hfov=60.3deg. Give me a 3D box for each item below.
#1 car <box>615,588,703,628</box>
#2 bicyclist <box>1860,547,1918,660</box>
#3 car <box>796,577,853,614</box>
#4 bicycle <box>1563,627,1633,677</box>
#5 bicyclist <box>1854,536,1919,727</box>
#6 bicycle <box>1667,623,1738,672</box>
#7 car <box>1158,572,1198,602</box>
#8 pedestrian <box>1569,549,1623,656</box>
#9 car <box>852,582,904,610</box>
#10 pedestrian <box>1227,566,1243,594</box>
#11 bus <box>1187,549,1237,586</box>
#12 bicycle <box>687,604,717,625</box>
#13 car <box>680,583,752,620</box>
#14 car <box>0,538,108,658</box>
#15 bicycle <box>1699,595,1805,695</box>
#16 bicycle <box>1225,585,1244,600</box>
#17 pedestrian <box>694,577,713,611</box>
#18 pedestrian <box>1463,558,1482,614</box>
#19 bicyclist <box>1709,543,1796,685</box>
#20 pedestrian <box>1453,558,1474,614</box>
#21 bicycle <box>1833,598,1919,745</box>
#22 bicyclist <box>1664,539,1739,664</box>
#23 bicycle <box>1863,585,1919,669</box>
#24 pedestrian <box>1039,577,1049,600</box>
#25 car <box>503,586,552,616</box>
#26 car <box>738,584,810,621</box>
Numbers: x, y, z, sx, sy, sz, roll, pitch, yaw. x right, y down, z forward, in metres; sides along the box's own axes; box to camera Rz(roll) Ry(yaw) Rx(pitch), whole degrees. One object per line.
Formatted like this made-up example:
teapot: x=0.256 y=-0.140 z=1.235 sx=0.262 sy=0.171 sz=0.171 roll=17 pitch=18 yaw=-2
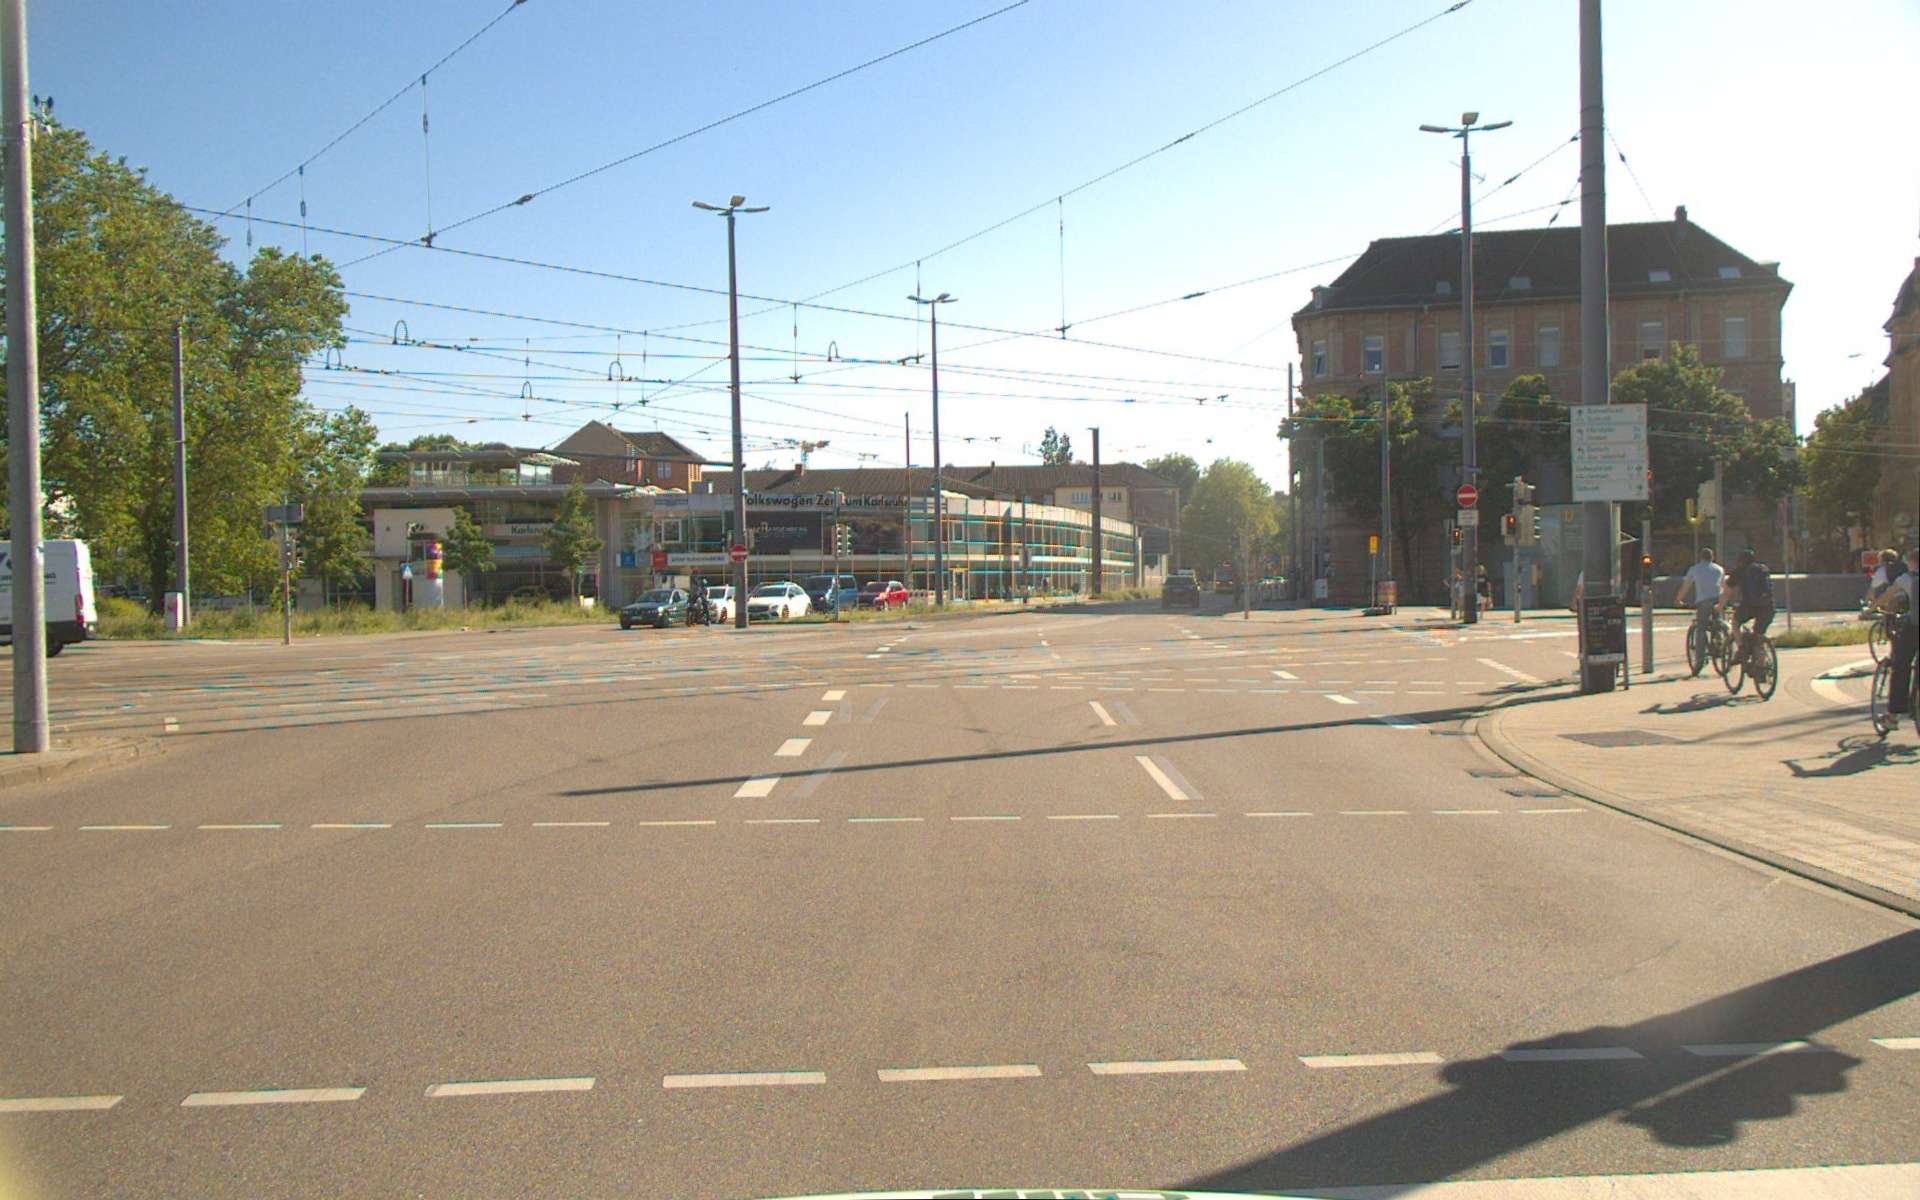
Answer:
car: x=-11.013 y=0.279 z=60.701 sx=1.667 sy=1.378 sz=3.703 roll=-1 pitch=1 yaw=16
bicyclist: x=13.432 y=0.039 z=23.918 sx=0.560 sy=1.596 sz=0.947 roll=-1 pitch=0 yaw=20
car: x=-6.425 y=-0.235 z=78.860 sx=1.591 sy=1.722 sz=3.689 roll=-1 pitch=1 yaw=14
bicycle: x=9.708 y=0.782 z=25.217 sx=0.525 sy=0.667 sz=1.727 roll=-4 pitch=0 yaw=6
bicyclist: x=8.408 y=0.253 z=14.539 sx=0.670 sy=1.626 sz=0.978 roll=-3 pitch=0 yaw=13
bicycle: x=11.168 y=0.705 z=24.910 sx=0.525 sy=0.667 sz=1.469 roll=-2 pitch=1 yaw=6
car: x=11.582 y=-0.705 z=87.788 sx=1.663 sy=1.529 sz=4.268 roll=-1 pitch=1 yaw=13
pedestrian: x=9.655 y=0.029 z=25.141 sx=0.537 sy=1.590 sz=0.859 roll=-1 pitch=0 yaw=5
car: x=-4.246 y=-0.199 z=86.020 sx=1.591 sy=1.388 sz=3.688 roll=-1 pitch=1 yaw=16
pedestrian: x=16.151 y=-1.176 z=97.028 sx=0.786 sy=1.660 sz=0.718 roll=-1 pitch=0 yaw=19
bus: x=28.425 y=-3.501 z=185.356 sx=3.755 sy=3.670 sz=24.887 roll=1 pitch=0 yaw=12
bicycle: x=-9.396 y=0.526 z=60.193 sx=0.413 sy=0.730 sz=1.636 roll=-1 pitch=1 yaw=16
car: x=-9.789 y=0.041 z=66.674 sx=1.591 sy=1.448 sz=3.689 roll=-1 pitch=1 yaw=14
car: x=-23.594 y=-0.027 z=39.125 sx=5.818 sy=2.792 sz=2.132 roll=-1 pitch=0 yaw=-20
bicycle: x=9.697 y=0.525 z=20.325 sx=0.612 sy=1.133 sz=1.852 roll=-3 pitch=0 yaw=9
bicycle: x=16.033 y=-0.443 z=96.574 sx=0.727 sy=0.885 sz=1.932 roll=-1 pitch=0 yaw=19
pedestrian: x=-9.362 y=-0.213 z=60.352 sx=0.413 sy=1.225 sz=0.750 roll=-1 pitch=0 yaw=16
pedestrian: x=18.881 y=-0.503 z=60.941 sx=0.453 sy=2.049 sz=0.449 roll=-1 pitch=1 yaw=-18
bicyclist: x=9.653 y=0.163 z=20.178 sx=0.612 sy=1.666 sz=0.996 roll=-3 pitch=0 yaw=9
pedestrian: x=18.362 y=-0.511 z=60.322 sx=0.564 sy=2.049 sz=0.449 roll=-1 pitch=1 yaw=-19
bicycle: x=8.464 y=0.603 z=14.761 sx=0.670 sy=1.184 sz=1.885 roll=-3 pitch=0 yaw=13
bicyclist: x=11.110 y=0.019 z=24.800 sx=0.731 sy=1.810 sz=0.925 roll=-2 pitch=0 yaw=6
bicycle: x=13.497 y=0.375 z=23.908 sx=0.560 sy=1.145 sz=1.740 roll=-1 pitch=0 yaw=22
pedestrian: x=6.288 y=-0.877 z=123.731 sx=0.531 sy=1.718 sz=0.630 roll=-1 pitch=0 yaw=18
car: x=-25.975 y=0.047 z=99.476 sx=1.926 sy=1.735 sz=4.083 roll=-1 pitch=1 yaw=-1
car: x=-7.237 y=0.077 z=64.831 sx=1.591 sy=1.406 sz=3.741 roll=-1 pitch=1 yaw=14
